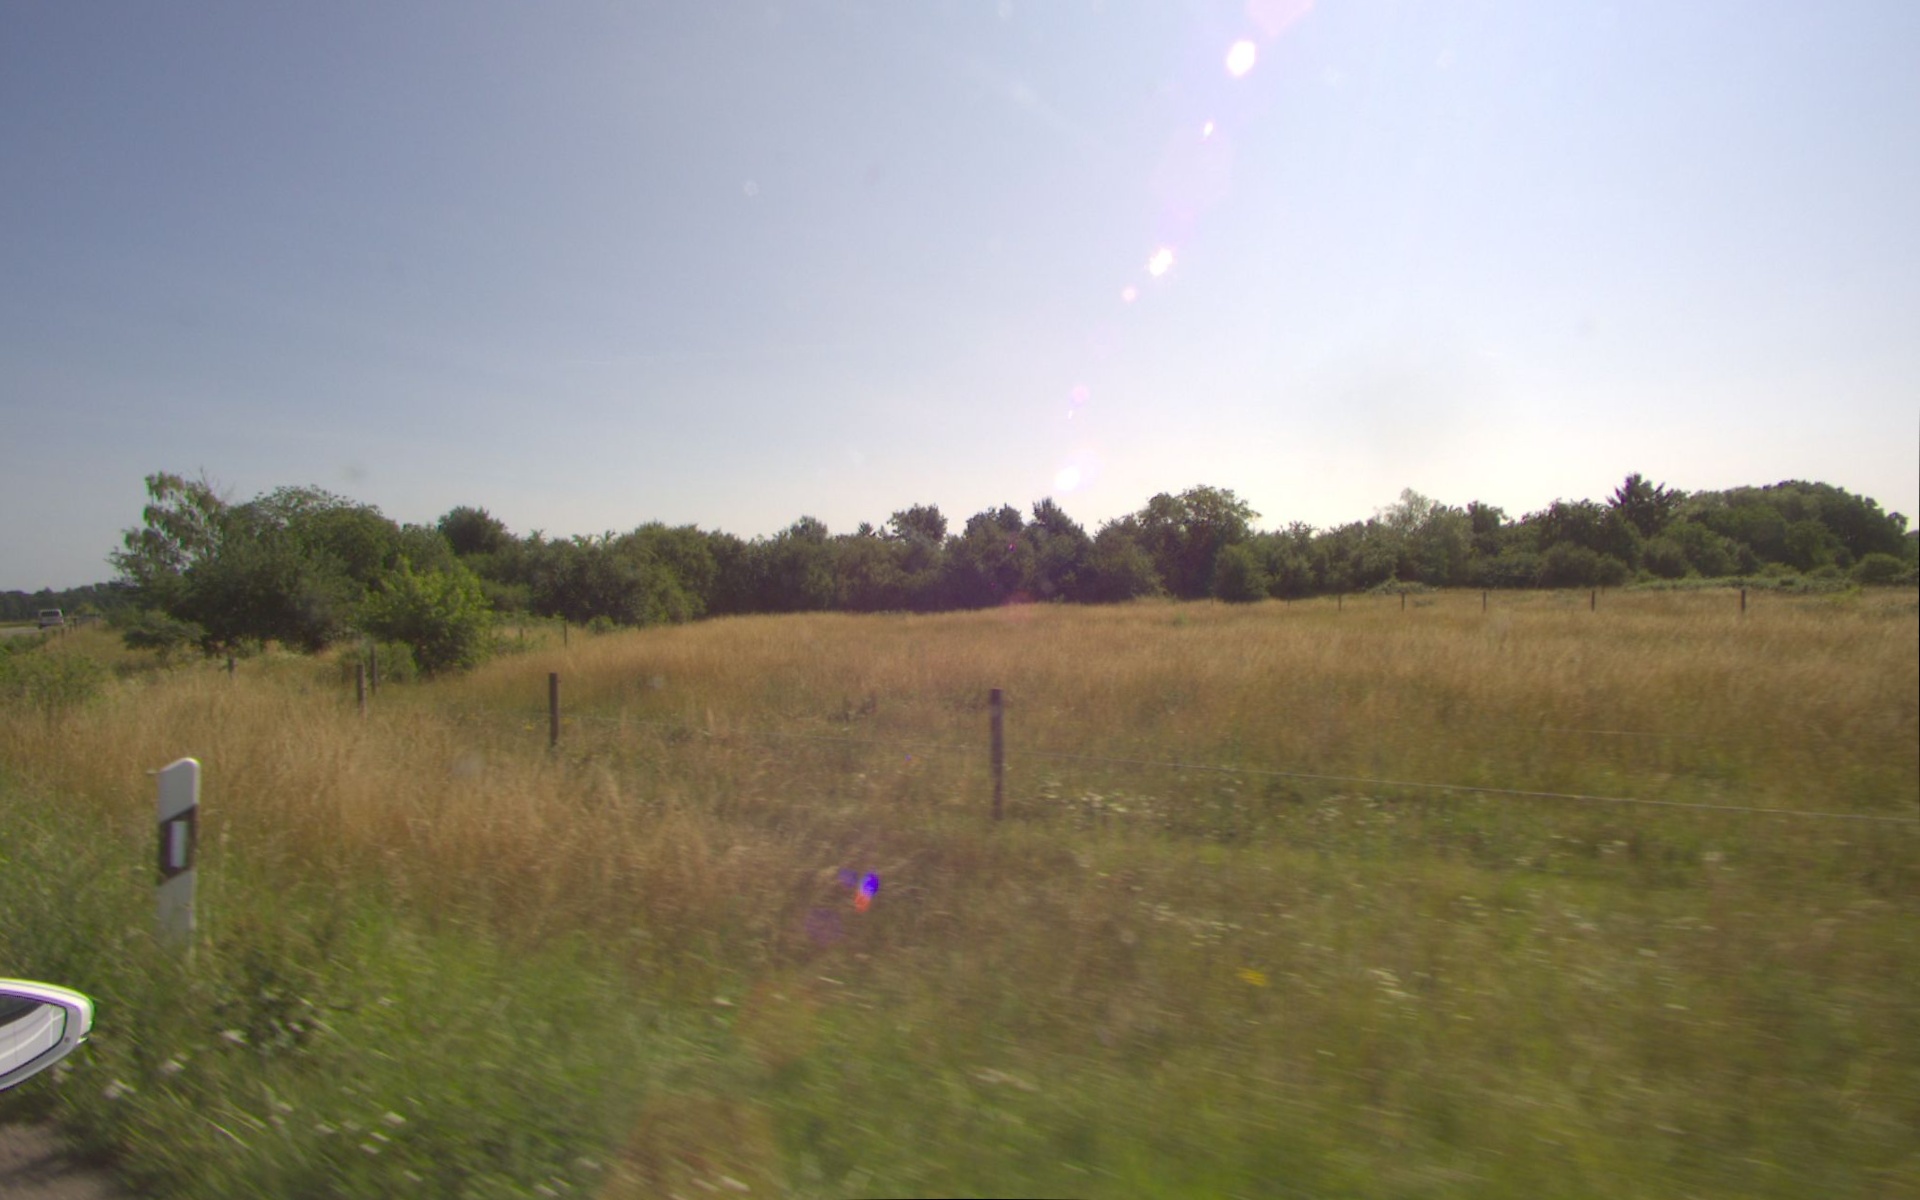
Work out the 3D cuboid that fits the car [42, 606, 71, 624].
[{"bbox_3d":[-94.429,1.607,104.691,1.946,1.825,4.129,0,-2,-38],"label":"car"}]
